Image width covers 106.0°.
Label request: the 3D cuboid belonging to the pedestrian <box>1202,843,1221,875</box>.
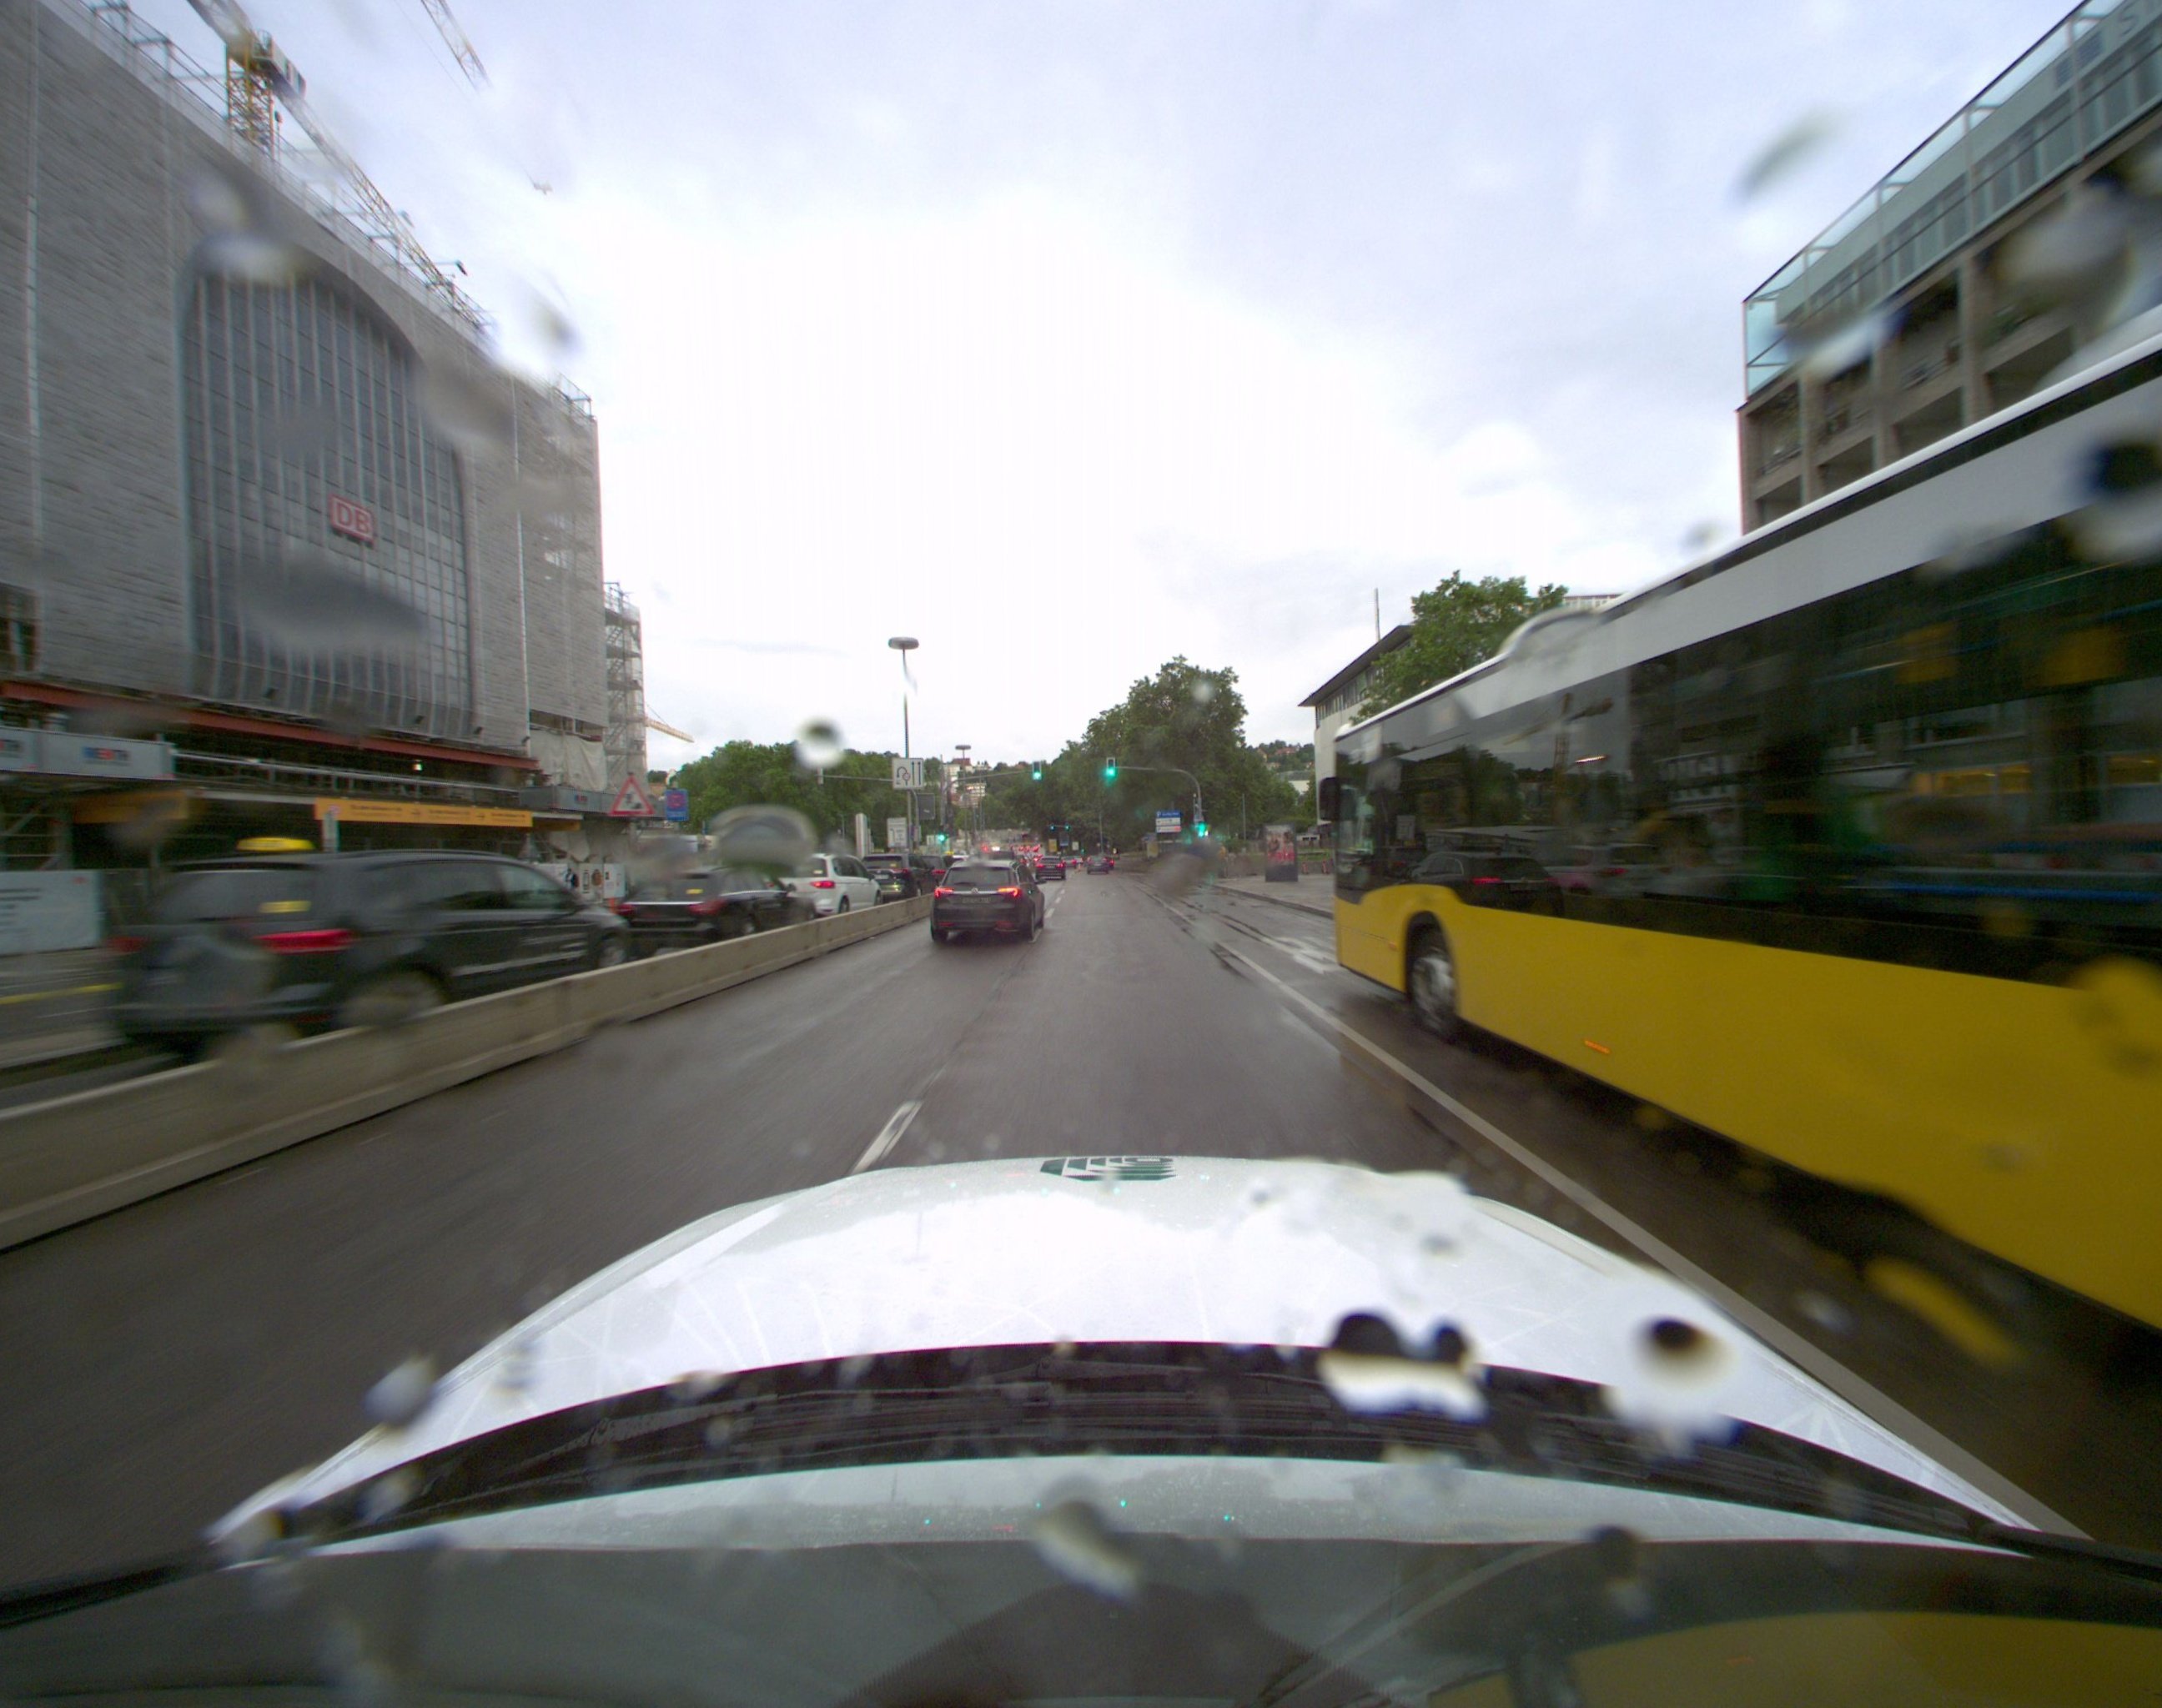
[{"bbox_3d":[7.261,0.278,45.398,0.872,1.691,0.758,-2,0,1],"label":"pedestrian"}]

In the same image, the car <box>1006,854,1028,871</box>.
[{"bbox_3d":[-5.792,0.780,74.524,1.819,1.511,4.486,-1,0,-2],"label":"car"}]

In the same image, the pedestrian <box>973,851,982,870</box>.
[{"bbox_3d":[-9.928,0.609,77.958,0.632,1.753,0.823,-1,-1,4],"label":"pedestrian"}]

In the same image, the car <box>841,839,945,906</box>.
[{"bbox_3d":[-5.680,0.514,25.293,1.987,1.787,4.848,-2,0,1],"label":"car"}]

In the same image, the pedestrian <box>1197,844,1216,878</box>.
[{"bbox_3d":[6.762,0.384,43.906,0.746,1.804,0.706,-2,0,-13],"label":"pedestrian"}]

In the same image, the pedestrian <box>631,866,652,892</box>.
[{"bbox_3d":[-32.271,1.825,59.798,1.024,1.881,0.834,-3,-1,-8],"label":"pedestrian"}]

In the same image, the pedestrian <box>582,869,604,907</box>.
[{"bbox_3d":[-24.083,1.672,40.222,0.675,1.841,0.717,-2,0,-12],"label":"pedestrian"}]

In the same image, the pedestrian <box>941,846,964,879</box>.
[{"bbox_3d":[-7.418,0.493,47.093,0.995,1.886,0.687,-2,0,24],"label":"pedestrian"}]

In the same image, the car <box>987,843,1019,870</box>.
[{"bbox_3d":[-5.551,0.191,58.689,1.988,1.845,5.058,-1,0,-2],"label":"car"}]

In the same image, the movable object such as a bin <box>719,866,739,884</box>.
[{"bbox_3d":[-20.264,1.222,46.885,0.756,0.970,0.721,-2,0,0],"label":"movable object such as a bin"}]

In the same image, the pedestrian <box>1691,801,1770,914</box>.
[{"bbox_3d":[10.740,0.059,13.498,0.727,1.792,0.759,-2,0,16],"label":"pedestrian"}]

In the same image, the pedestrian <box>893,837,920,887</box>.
[{"bbox_3d":[-7.139,0.342,33.260,0.825,2.013,0.627,-2,0,40],"label":"pedestrian"}]

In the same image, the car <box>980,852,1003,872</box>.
[{"bbox_3d":[-9.139,0.808,83.167,1.989,2.014,5.363,-1,0,-3],"label":"car"}]

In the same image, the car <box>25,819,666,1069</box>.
[{"bbox_3d":[-6.317,0.625,8.011,1.987,1.654,4.642,-2,0,1],"label":"car"}]

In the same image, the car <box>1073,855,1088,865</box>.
[{"bbox_3d":[-0.078,1.005,136.869,1.813,1.574,3.987,-1,0,-9],"label":"car"}]

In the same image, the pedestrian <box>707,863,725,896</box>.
[{"bbox_3d":[-20.646,1.423,46.099,0.695,1.841,0.528,-2,0,-1],"label":"pedestrian"}]

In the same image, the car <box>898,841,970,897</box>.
[{"bbox_3d":[-5.448,0.519,30.751,1.707,1.892,4.611,-2,0,1],"label":"car"}]

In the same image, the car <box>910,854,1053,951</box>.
[{"bbox_3d":[-1.706,0.784,15.613,1.870,1.508,4.855,-2,0,3],"label":"car"}]

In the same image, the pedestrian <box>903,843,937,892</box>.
[{"bbox_3d":[-6.750,0.554,34.086,0.825,2.013,1.034,-2,0,39],"label":"pedestrian"}]

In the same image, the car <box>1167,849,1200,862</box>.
[{"bbox_3d":[12.314,0.223,98.235,3.572,1.506,1.745,-1,-1,40],"label":"car"}]

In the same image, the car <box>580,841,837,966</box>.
[{"bbox_3d":[-6.081,0.705,14.175,2.042,1.711,5.055,-2,0,0],"label":"car"}]

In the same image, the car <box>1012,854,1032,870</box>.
[{"bbox_3d":[-6.465,0.891,89.742,1.989,1.567,4.871,-4,0,-2],"label":"car"}]

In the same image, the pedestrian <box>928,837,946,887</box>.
[{"bbox_3d":[-5.931,0.308,33.533,0.526,2.013,0.890,-2,0,-1],"label":"pedestrian"}]

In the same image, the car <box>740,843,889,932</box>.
[{"bbox_3d":[-6.101,0.703,19.294,1.987,1.787,4.453,-2,0,0],"label":"car"}]

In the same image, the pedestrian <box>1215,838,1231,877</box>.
[{"bbox_3d":[8.029,0.196,46.063,0.554,2.146,0.665,-2,0,-13],"label":"pedestrian"}]

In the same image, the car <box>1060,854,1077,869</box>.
[{"bbox_3d":[-1.436,0.863,96.216,1.898,1.717,3.999,-1,0,0],"label":"car"}]

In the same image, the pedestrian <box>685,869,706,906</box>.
[{"bbox_3d":[-19.842,1.699,41.973,0.636,1.841,0.775,-2,0,1],"label":"pedestrian"}]

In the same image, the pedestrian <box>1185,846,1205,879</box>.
[{"bbox_3d":[6.509,0.486,46.701,0.787,1.838,0.946,-2,0,-13],"label":"pedestrian"}]

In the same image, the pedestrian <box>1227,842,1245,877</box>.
[{"bbox_3d":[8.186,0.313,43.106,0.542,1.804,0.751,-2,0,-26],"label":"pedestrian"}]

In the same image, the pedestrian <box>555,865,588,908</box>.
[{"bbox_3d":[-22.838,1.436,36.521,0.815,1.841,0.937,-2,0,1],"label":"pedestrian"}]

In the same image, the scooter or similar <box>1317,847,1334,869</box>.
[{"bbox_3d":[14.466,0.251,48.192,0.373,1.259,1.311,-1,0,-11],"label":"scooter or similar"}]

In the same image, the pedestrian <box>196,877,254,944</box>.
[{"bbox_3d":[-24.513,1.592,23.339,0.771,1.841,0.831,-2,0,-12],"label":"pedestrian"}]

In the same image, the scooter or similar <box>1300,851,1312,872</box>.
[{"bbox_3d":[13.291,0.429,48.119,0.350,1.217,1.158,-1,-1,0],"label":"scooter or similar"}]

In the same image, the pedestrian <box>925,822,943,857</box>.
[{"bbox_3d":[-8.051,-0.811,44.602,0.829,1.886,0.689,-2,2,-9],"label":"pedestrian"}]

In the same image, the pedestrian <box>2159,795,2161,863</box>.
[{"bbox_3d":[26.151,-0.530,19.064,0.728,1.792,0.789,-2,0,1],"label":"pedestrian"}]

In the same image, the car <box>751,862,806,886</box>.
[{"bbox_3d":[-20.050,1.279,54.116,1.986,1.468,4.002,-1,0,2],"label":"car"}]

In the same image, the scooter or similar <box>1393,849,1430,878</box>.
[{"bbox_3d":[14.612,0.429,36.031,0.573,1.231,1.353,0,-1,-44],"label":"scooter or similar"}]

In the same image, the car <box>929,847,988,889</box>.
[{"bbox_3d":[-5.457,0.578,36.855,1.780,1.685,4.668,-2,0,2],"label":"car"}]

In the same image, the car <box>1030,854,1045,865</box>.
[{"bbox_3d":[-7.028,0.875,130.139,1.993,1.827,3.988,-1,0,-9],"label":"car"}]

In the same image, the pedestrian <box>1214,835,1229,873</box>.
[{"bbox_3d":[8.125,0.003,47.064,0.703,2.145,0.724,-3,0,13],"label":"pedestrian"}]

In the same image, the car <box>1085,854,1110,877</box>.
[{"bbox_3d":[1.242,0.917,63.738,1.846,1.717,3.999,-1,0,0],"label":"car"}]

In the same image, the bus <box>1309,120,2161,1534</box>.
[{"bbox_3d":[4.079,-0.056,4.730,3.102,3.205,9.244,-1,0,1],"label":"bus"}]

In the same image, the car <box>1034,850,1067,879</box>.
[{"bbox_3d":[-1.894,0.619,51.765,1.825,1.686,4.133,-2,0,0],"label":"car"}]
